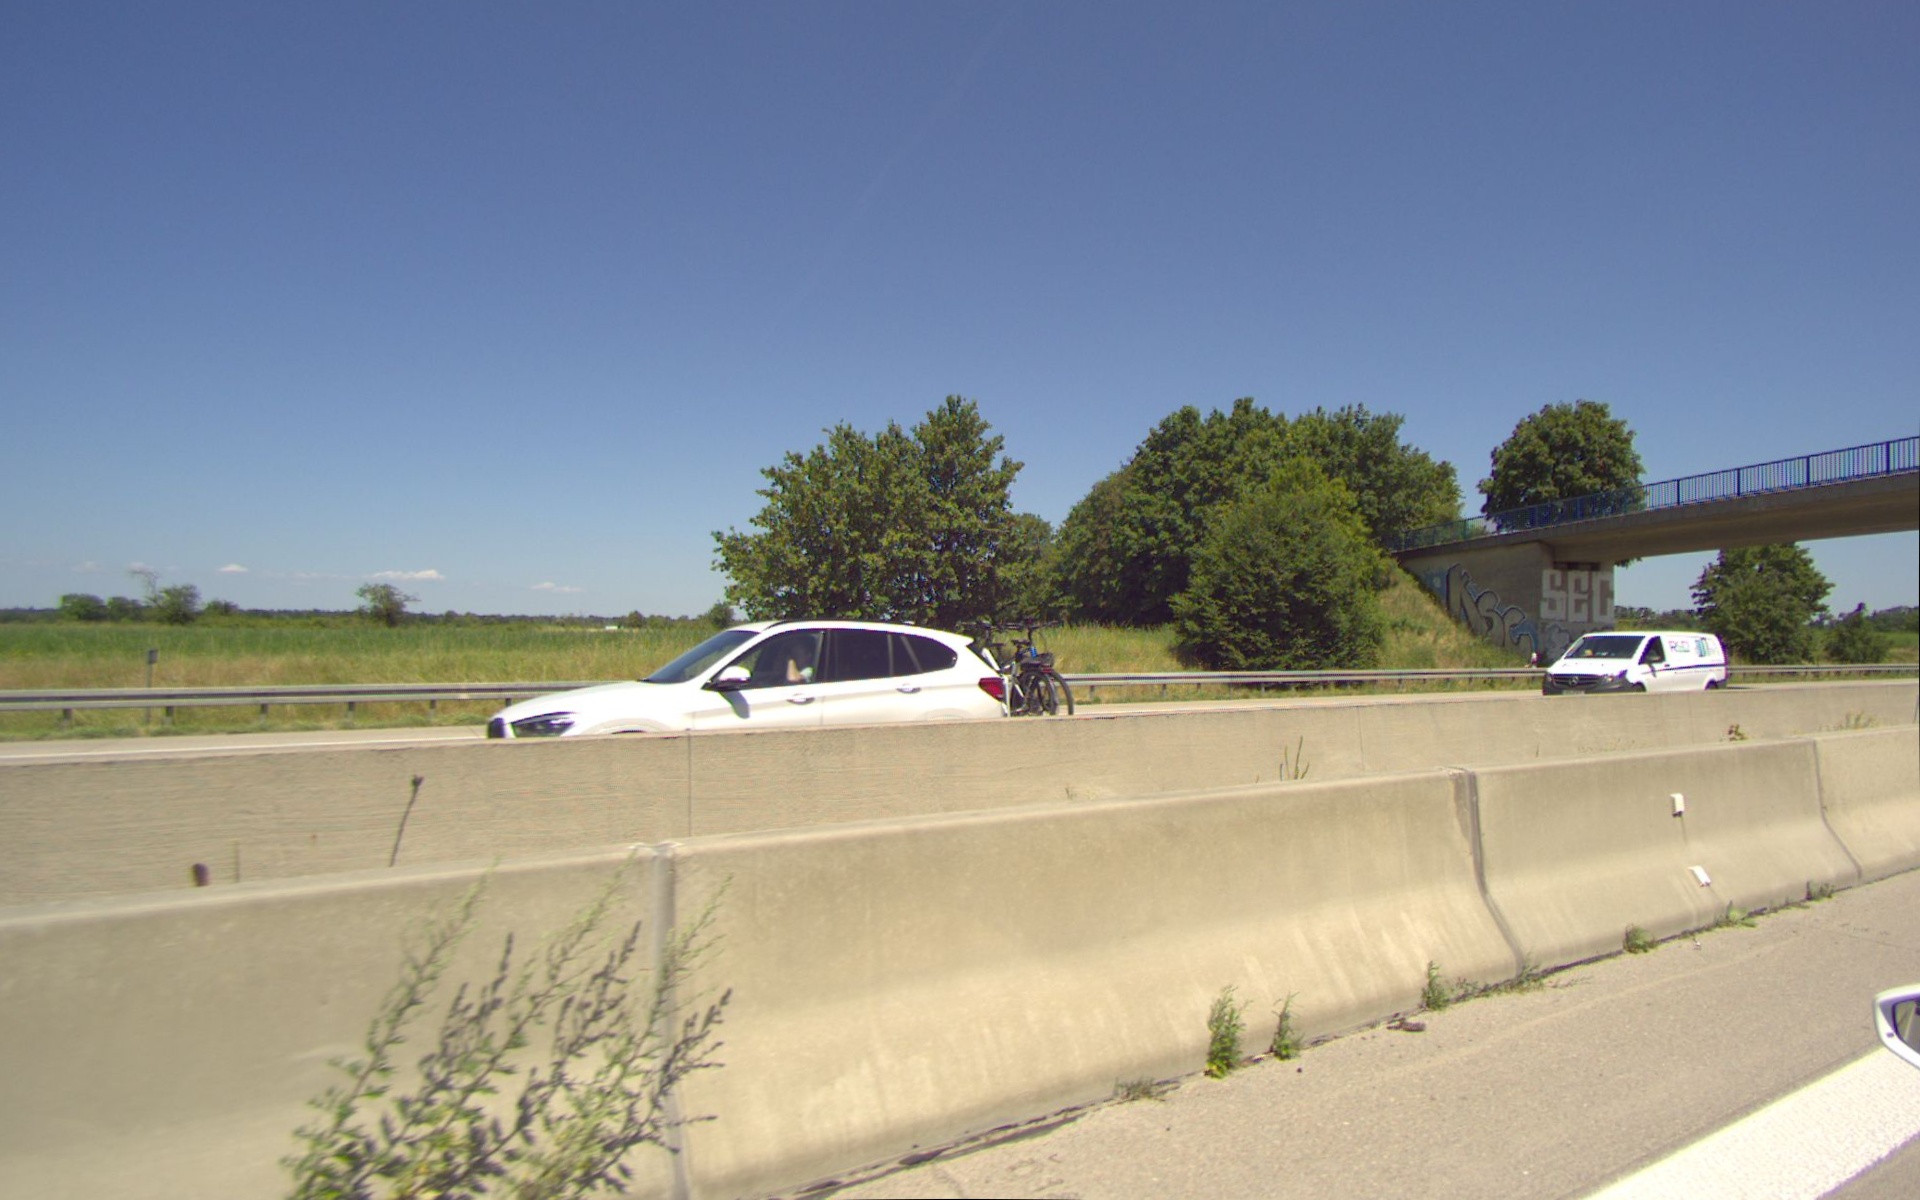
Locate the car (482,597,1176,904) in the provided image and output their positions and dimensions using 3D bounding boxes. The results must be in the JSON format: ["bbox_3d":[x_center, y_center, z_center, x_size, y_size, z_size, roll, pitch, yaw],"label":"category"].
[{"bbox_3d":[-1.014,1.087,9.226,5.910,2.040,2.241,2,0,-31],"label":"car"}]

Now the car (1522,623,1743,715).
[{"bbox_3d":[16.219,1.606,24.147,5.619,1.984,2.241,2,-2,-31],"label":"car"}]
